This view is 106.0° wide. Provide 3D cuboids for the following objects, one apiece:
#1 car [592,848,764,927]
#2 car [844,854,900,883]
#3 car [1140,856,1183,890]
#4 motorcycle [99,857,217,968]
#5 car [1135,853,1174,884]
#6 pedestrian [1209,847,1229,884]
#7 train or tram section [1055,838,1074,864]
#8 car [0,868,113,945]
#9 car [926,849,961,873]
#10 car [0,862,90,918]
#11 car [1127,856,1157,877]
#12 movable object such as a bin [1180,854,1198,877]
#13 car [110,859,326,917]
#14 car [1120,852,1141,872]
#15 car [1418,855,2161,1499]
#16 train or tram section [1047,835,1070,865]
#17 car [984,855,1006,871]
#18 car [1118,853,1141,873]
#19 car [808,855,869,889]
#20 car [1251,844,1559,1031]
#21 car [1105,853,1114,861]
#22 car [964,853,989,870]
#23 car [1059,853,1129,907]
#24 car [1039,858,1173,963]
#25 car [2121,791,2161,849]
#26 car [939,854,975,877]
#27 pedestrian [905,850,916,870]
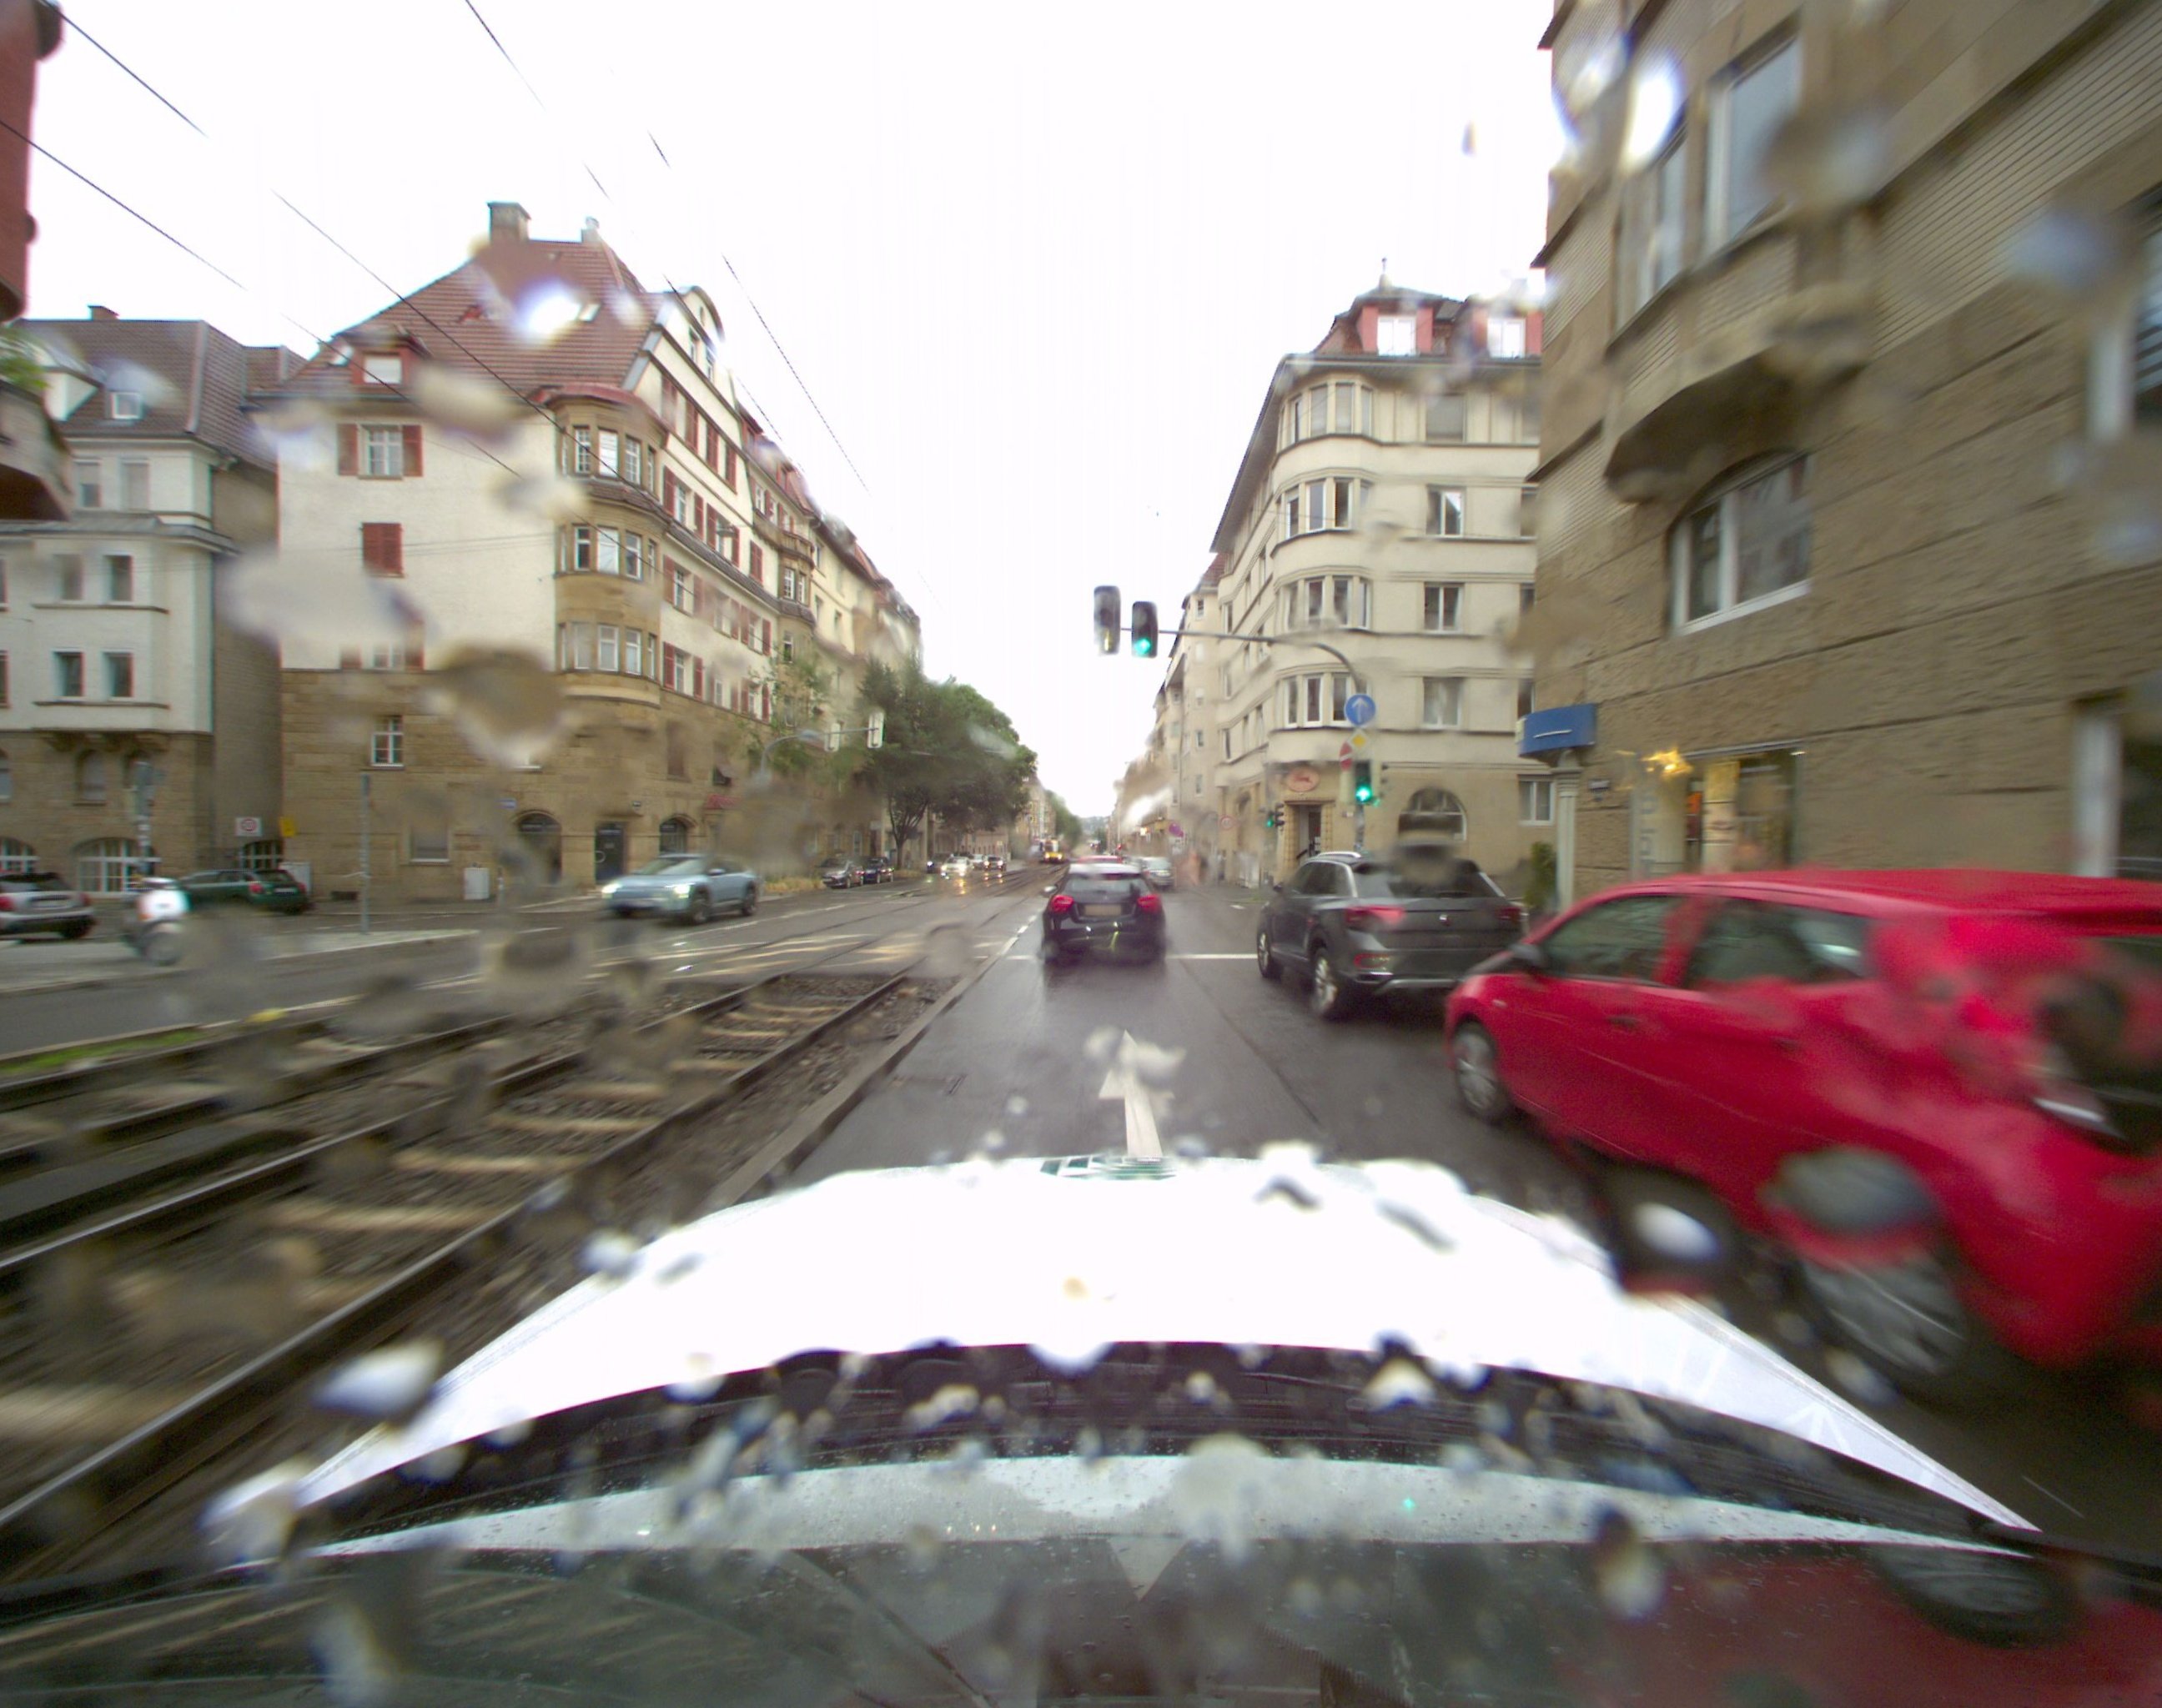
[{"bbox_3d":[-9.089,0.713,18.826,1.915,1.617,4.128,0,-1,0],"label":"car"},{"bbox_3d":[-11.375,0.793,44.644,1.775,1.460,4.977,0,-1,0],"label":"car"},{"bbox_3d":[3.563,0.825,36.700,1.703,1.410,4.821,0,-1,3],"label":"car"},{"bbox_3d":[-12.284,0.733,10.830,1.761,1.375,0.772,-1,-1,33],"label":"motorcycle"},{"bbox_3d":[3.745,0.740,42.069,1.706,1.468,4.775,0,-1,2],"label":"car"},{"bbox_3d":[6.452,0.535,38.021,0.801,1.687,0.754,0,-1,0],"label":"pedestrian"},{"bbox_3d":[-2.634,-0.458,135.359,2.736,4.061,15.662,0,0,1],"label":"train or tram section"},{"bbox_3d":[-22.748,1.044,16.586,3.972,1.467,1.747,0,-1,1],"label":"car"},{"bbox_3d":[-11.032,0.529,65.525,1.947,1.742,4.778,3,0,0],"label":"car"},{"bbox_3d":[-32.178,1.039,23.809,3.972,1.574,2.001,0,-1,1],"label":"car"},{"bbox_3d":[4.076,0.847,55.128,1.783,1.385,4.395,0,-1,1],"label":"car"},{"bbox_3d":[7.006,0.724,52.869,0.976,1.468,1.273,0,-1,1],"label":"movable object such as a bin"},{"bbox_3d":[-24.810,0.963,23.559,3.977,1.574,1.998,0,-1,-3],"label":"car"},{"bbox_3d":[4.469,0.704,73.783,1.771,1.750,4.550,0,-1,2],"label":"car"},{"bbox_3d":[3.106,0.748,3.637,1.700,1.453,3.531,1,0,-1],"label":"car"},{"bbox_3d":[-3.145,-0.526,118.959,2.736,4.061,17.215,0,0,1],"label":"train or tram section"},{"bbox_3d":[-7.927,0.823,75.260,1.648,1.463,3.733,-1,0,0],"label":"car"},{"bbox_3d":[4.045,0.782,67.573,1.833,1.608,4.764,0,-1,4],"label":"car"},{"bbox_3d":[-11.553,0.837,39.088,1.684,1.529,4.175,0,-1,0],"label":"car"},{"bbox_3d":[3.143,0.712,8.853,1.861,1.549,3.992,1,0,1],"label":"car"},{"bbox_3d":[5.845,0.648,166.563,1.879,1.525,4.249,1,0,3],"label":"car"},{"bbox_3d":[-10.634,0.724,82.870,1.954,1.605,4.329,1,0,0],"label":"car"},{"bbox_3d":[0.436,0.752,25.572,1.986,1.525,4.247,1,0,1],"label":"car"},{"bbox_3d":[0.398,0.788,13.147,1.828,1.453,3.903,0,0,1],"label":"car"},{"bbox_3d":[32.570,-1.113,22.789,4.344,1.569,1.978,-4,-3,-1],"label":"car"},{"bbox_3d":[-8.339,0.792,55.092,1.775,1.503,4.061,0,-1,0],"label":"car"},{"bbox_3d":[-14.222,0.522,67.994,0.726,1.663,0.771,0,0,0],"label":"pedestrian"}]
